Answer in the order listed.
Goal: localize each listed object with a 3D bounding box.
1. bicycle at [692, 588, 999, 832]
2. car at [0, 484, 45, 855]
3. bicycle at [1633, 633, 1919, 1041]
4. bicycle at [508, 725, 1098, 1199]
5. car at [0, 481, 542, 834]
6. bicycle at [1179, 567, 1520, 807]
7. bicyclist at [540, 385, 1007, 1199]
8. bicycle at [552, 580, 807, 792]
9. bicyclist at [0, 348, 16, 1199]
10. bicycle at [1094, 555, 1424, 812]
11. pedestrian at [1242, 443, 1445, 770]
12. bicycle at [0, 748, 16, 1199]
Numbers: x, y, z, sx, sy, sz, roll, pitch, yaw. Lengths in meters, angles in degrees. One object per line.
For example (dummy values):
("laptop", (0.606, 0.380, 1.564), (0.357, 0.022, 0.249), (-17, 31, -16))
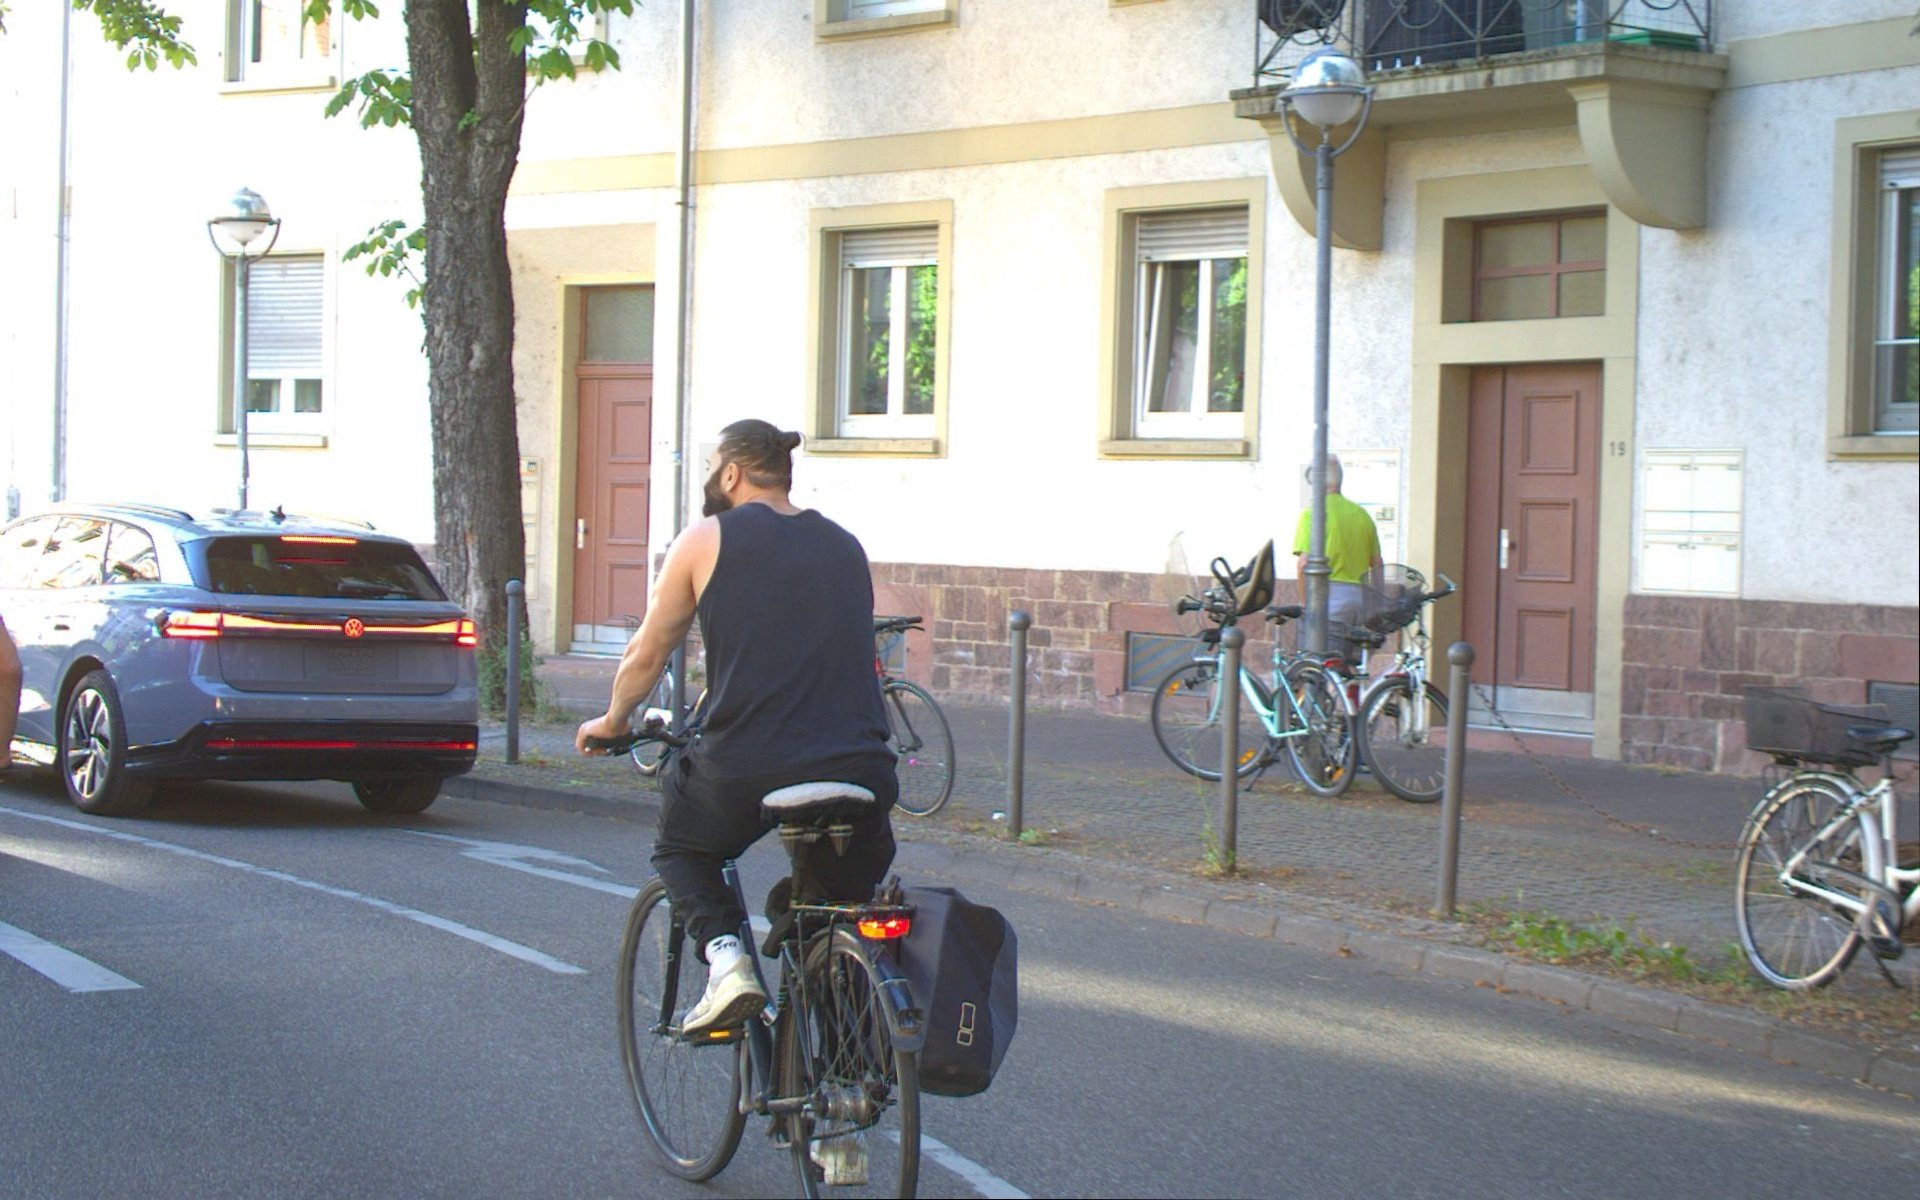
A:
("bicycle", (-0.598, 0.512, 17.047), (0.616, 1.054, 1.928), (-1, 3, -33))
("car", (-5.780, 0.257, 15.313), (1.813, 1.538, 3.957), (-2, 3, -39))
("bicycle", (2.923, 0.715, 10.593), (0.616, 1.109, 1.993), (-3, 3, -24))
("bicycle", (-0.413, 0.843, 7.388), (0.737, 1.008, 2.062), (2, 1, -17))
("car", (-4.013, 0.205, 17.800), (1.892, 1.572, 3.999), (1, 2, -37))
("bicycle", (1.994, 0.418, 17.925), (0.582, 1.110, 2.117), (0, 2, -31))
("bicyclist", (-0.419, 0.406, 7.298), (0.752, 1.676, 0.913), (1, 2, -17))
("bicycle", (-1.528, 0.428, 18.348), (0.520, 0.995, 2.192), (1, 2, -28))
("bicyclist", (-2.085, 0.314, 6.263), (0.671, 1.509, 1.069), (1, 1, -14))
("bicycle", (1.495, 0.390, 17.594), (0.494, 1.168, 2.117), (-3, 4, -31))
("pedestrian", (2.167, 0.016, 19.389), (0.659, 1.788, 0.995), (2, 3, 43))
("bicycle", (-2.094, 0.851, 6.277), (0.674, 1.050, 2.062), (1, 1, -15))
